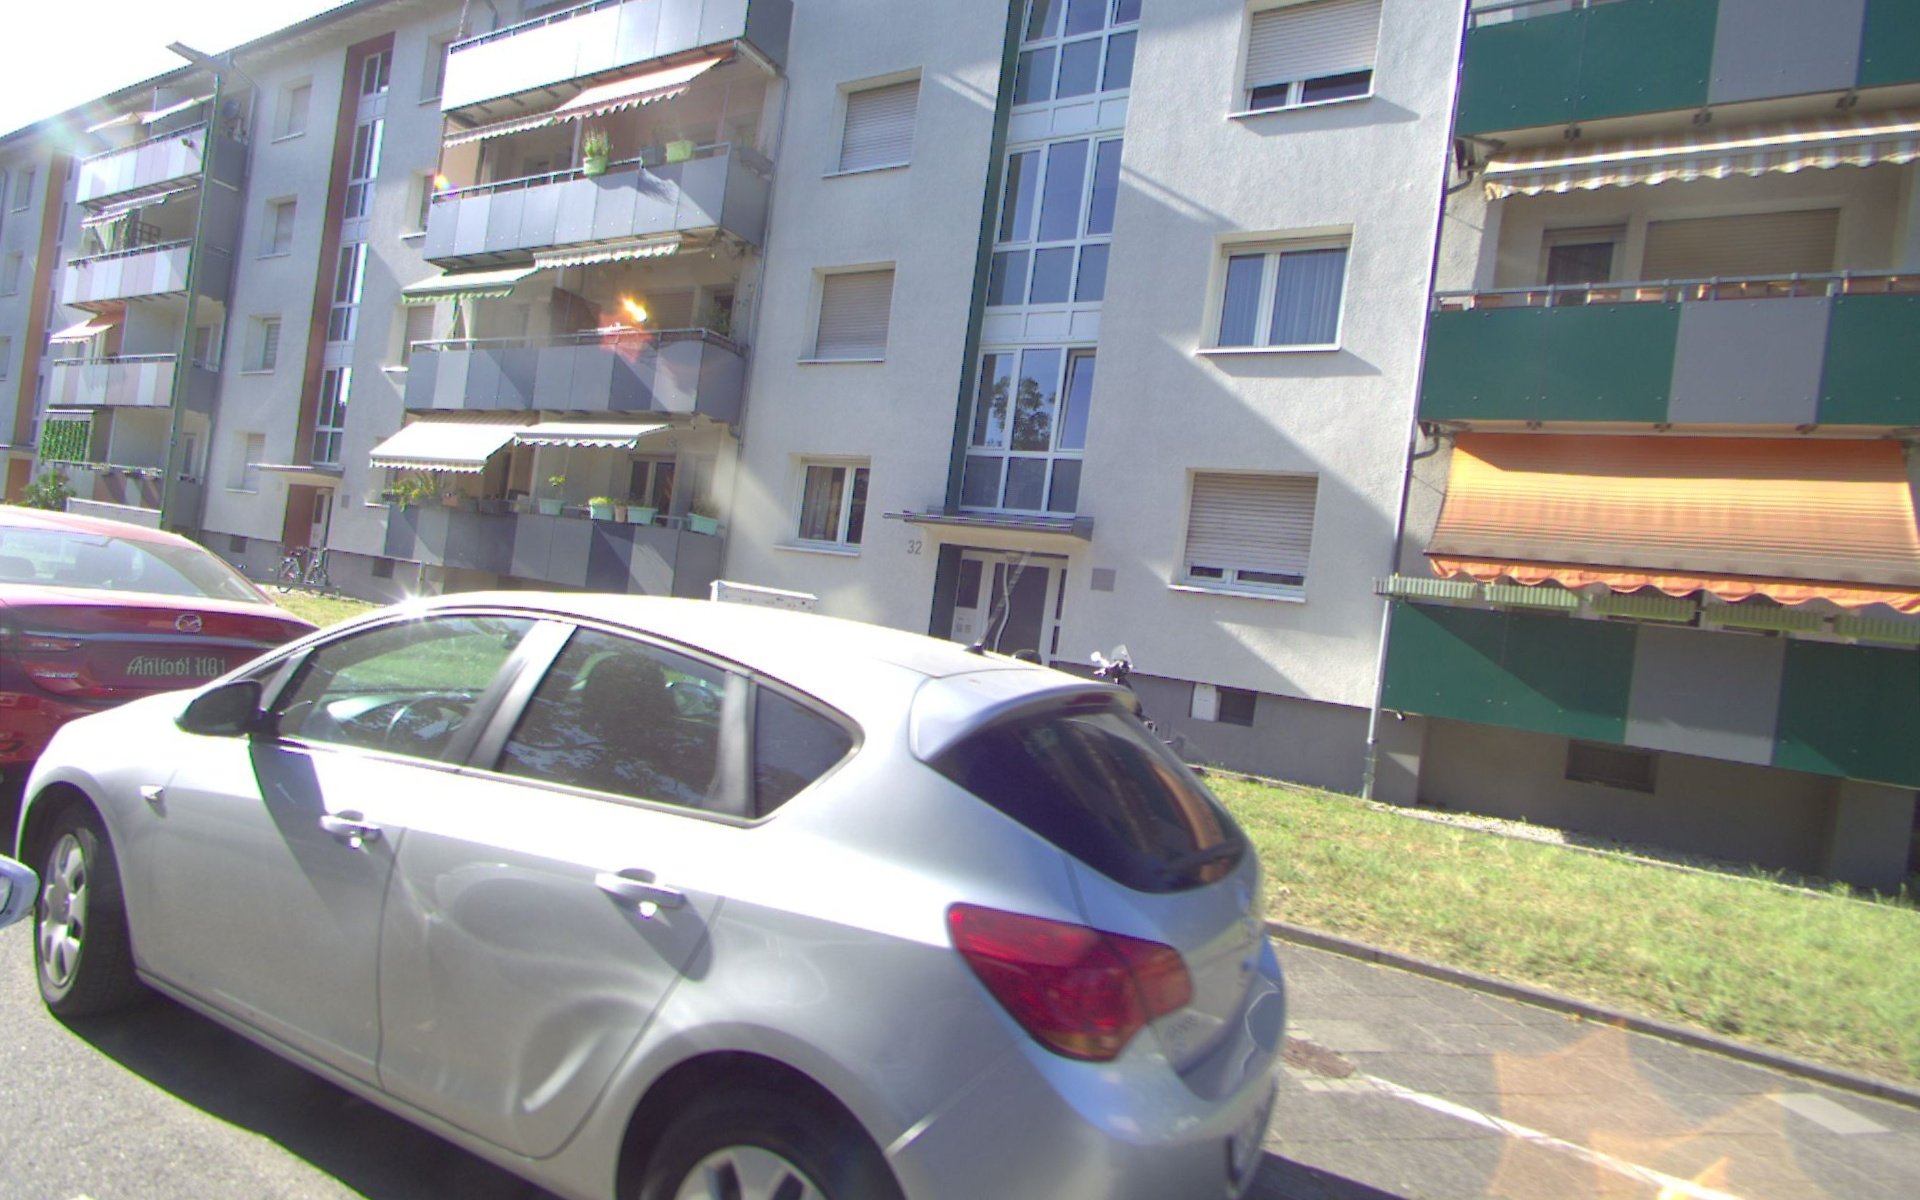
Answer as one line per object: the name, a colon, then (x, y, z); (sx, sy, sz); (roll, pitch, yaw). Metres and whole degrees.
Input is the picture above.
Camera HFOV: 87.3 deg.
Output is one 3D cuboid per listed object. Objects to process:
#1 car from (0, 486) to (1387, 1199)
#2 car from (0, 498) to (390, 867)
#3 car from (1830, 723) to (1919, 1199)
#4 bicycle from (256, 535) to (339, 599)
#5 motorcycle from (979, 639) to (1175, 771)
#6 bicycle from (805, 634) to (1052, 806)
car: (-1.179, 0.676, 3.197); (4.415, 1.552, 1.878); (7, -1, 27)
car: (-5.731, 0.146, 5.852); (4.979, 1.490, 1.847); (7, -1, 30)
car: (3.466, 1.195, 0.359); (4.482, 1.548, 1.772); (7, -1, 32)
bicycle: (-13.442, -0.673, 20.397); (1.976, 1.085, 0.524); (7, 2, 30)
motorcycle: (1.315, 1.156, 11.374); (2.000, 1.165, 0.584); (7, 0, 22)
bicycle: (-0.284, 0.953, 8.381); (1.865, 1.090, 0.721); (7, -1, 33)
